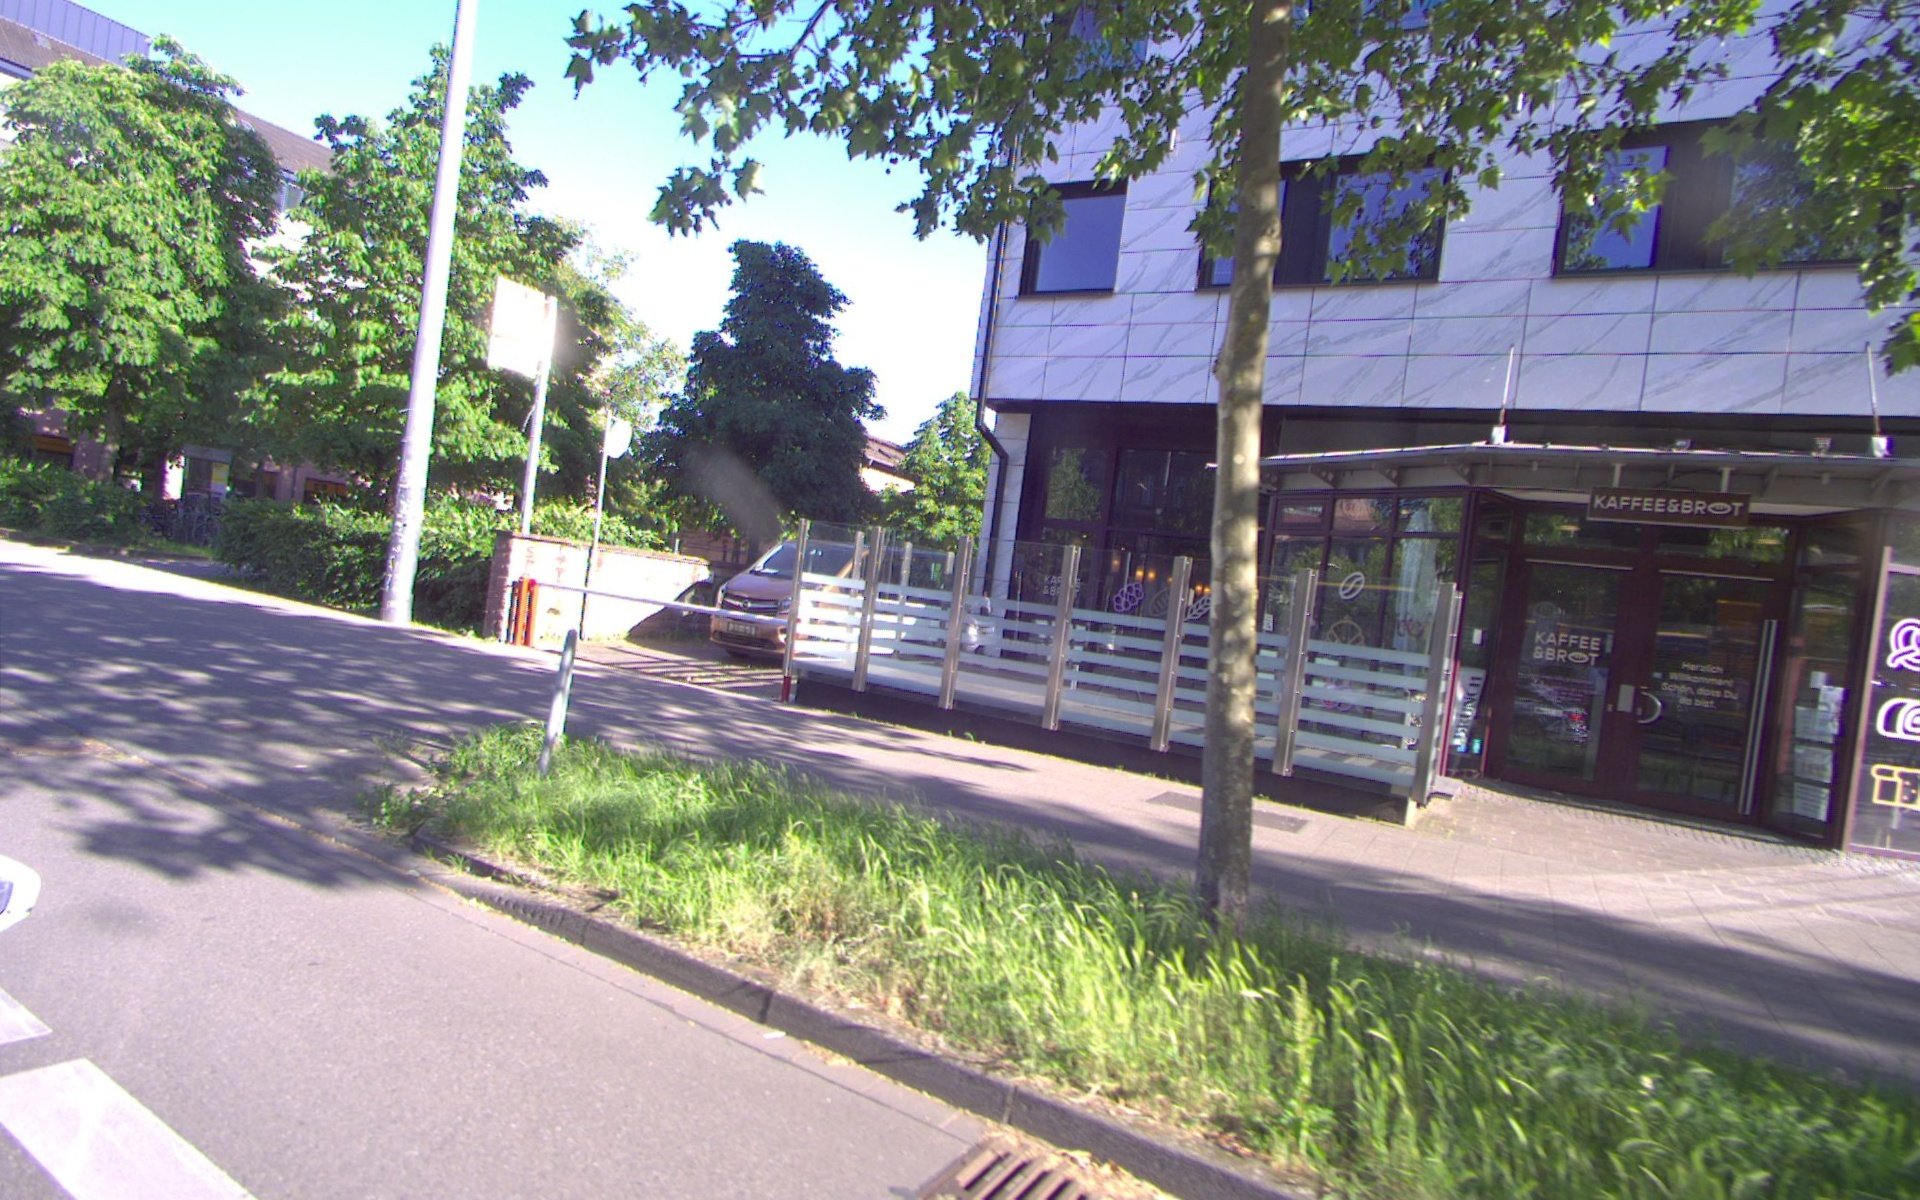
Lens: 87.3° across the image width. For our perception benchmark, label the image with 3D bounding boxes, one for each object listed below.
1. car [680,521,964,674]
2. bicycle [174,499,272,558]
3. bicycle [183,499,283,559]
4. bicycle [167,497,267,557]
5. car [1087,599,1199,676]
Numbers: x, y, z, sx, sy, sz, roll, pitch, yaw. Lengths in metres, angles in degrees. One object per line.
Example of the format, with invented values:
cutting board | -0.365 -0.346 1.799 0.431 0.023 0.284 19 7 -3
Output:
car | -2.050 -0.009 16.584 1.880 2.011 4.899 7 3 30
bicycle | -19.854 -1.903 27.158 0.564 1.332 1.997 8 2 32
bicycle | -19.155 -1.853 26.560 0.564 1.332 1.997 8 2 32
bicycle | -19.546 -1.891 26.508 0.564 1.332 1.997 8 2 32
car | 4.776 1.001 25.951 1.567 1.692 3.615 7 1 30
